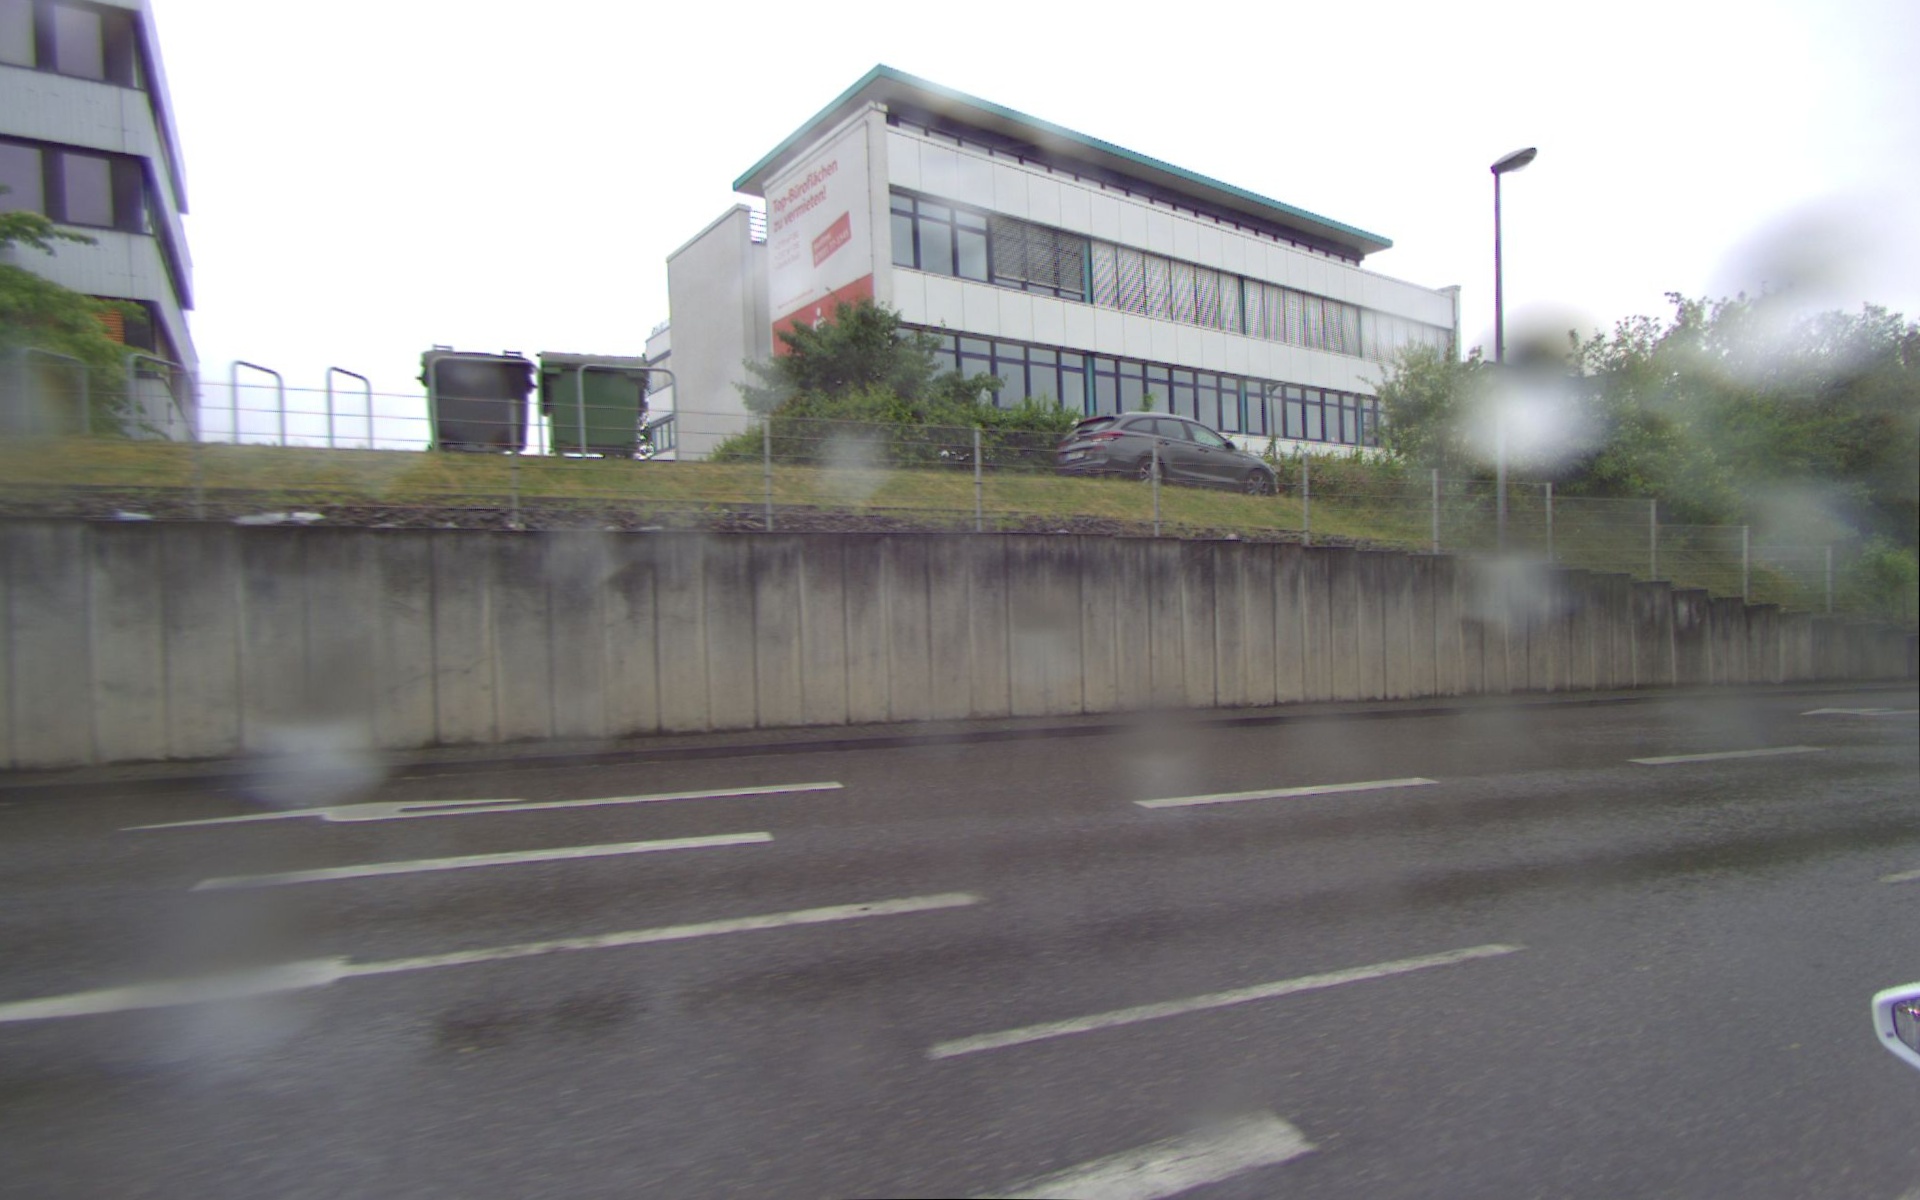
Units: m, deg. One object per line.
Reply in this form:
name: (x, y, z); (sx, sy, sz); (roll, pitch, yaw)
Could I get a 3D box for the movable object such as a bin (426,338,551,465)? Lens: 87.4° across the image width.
movable object such as a bin: (-5.835, -2.404, 12.450); (1.325, 1.228, 1.236); (1, 0, -27)

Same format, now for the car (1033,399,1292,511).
car: (3.713, -2.520, 18.212); (4.480, 1.360, 1.904); (2, 0, -30)

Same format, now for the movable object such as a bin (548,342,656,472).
movable object such as a bin: (-4.677, -2.461, 13.076); (1.201, 1.364, 1.237); (1, 0, -26)
